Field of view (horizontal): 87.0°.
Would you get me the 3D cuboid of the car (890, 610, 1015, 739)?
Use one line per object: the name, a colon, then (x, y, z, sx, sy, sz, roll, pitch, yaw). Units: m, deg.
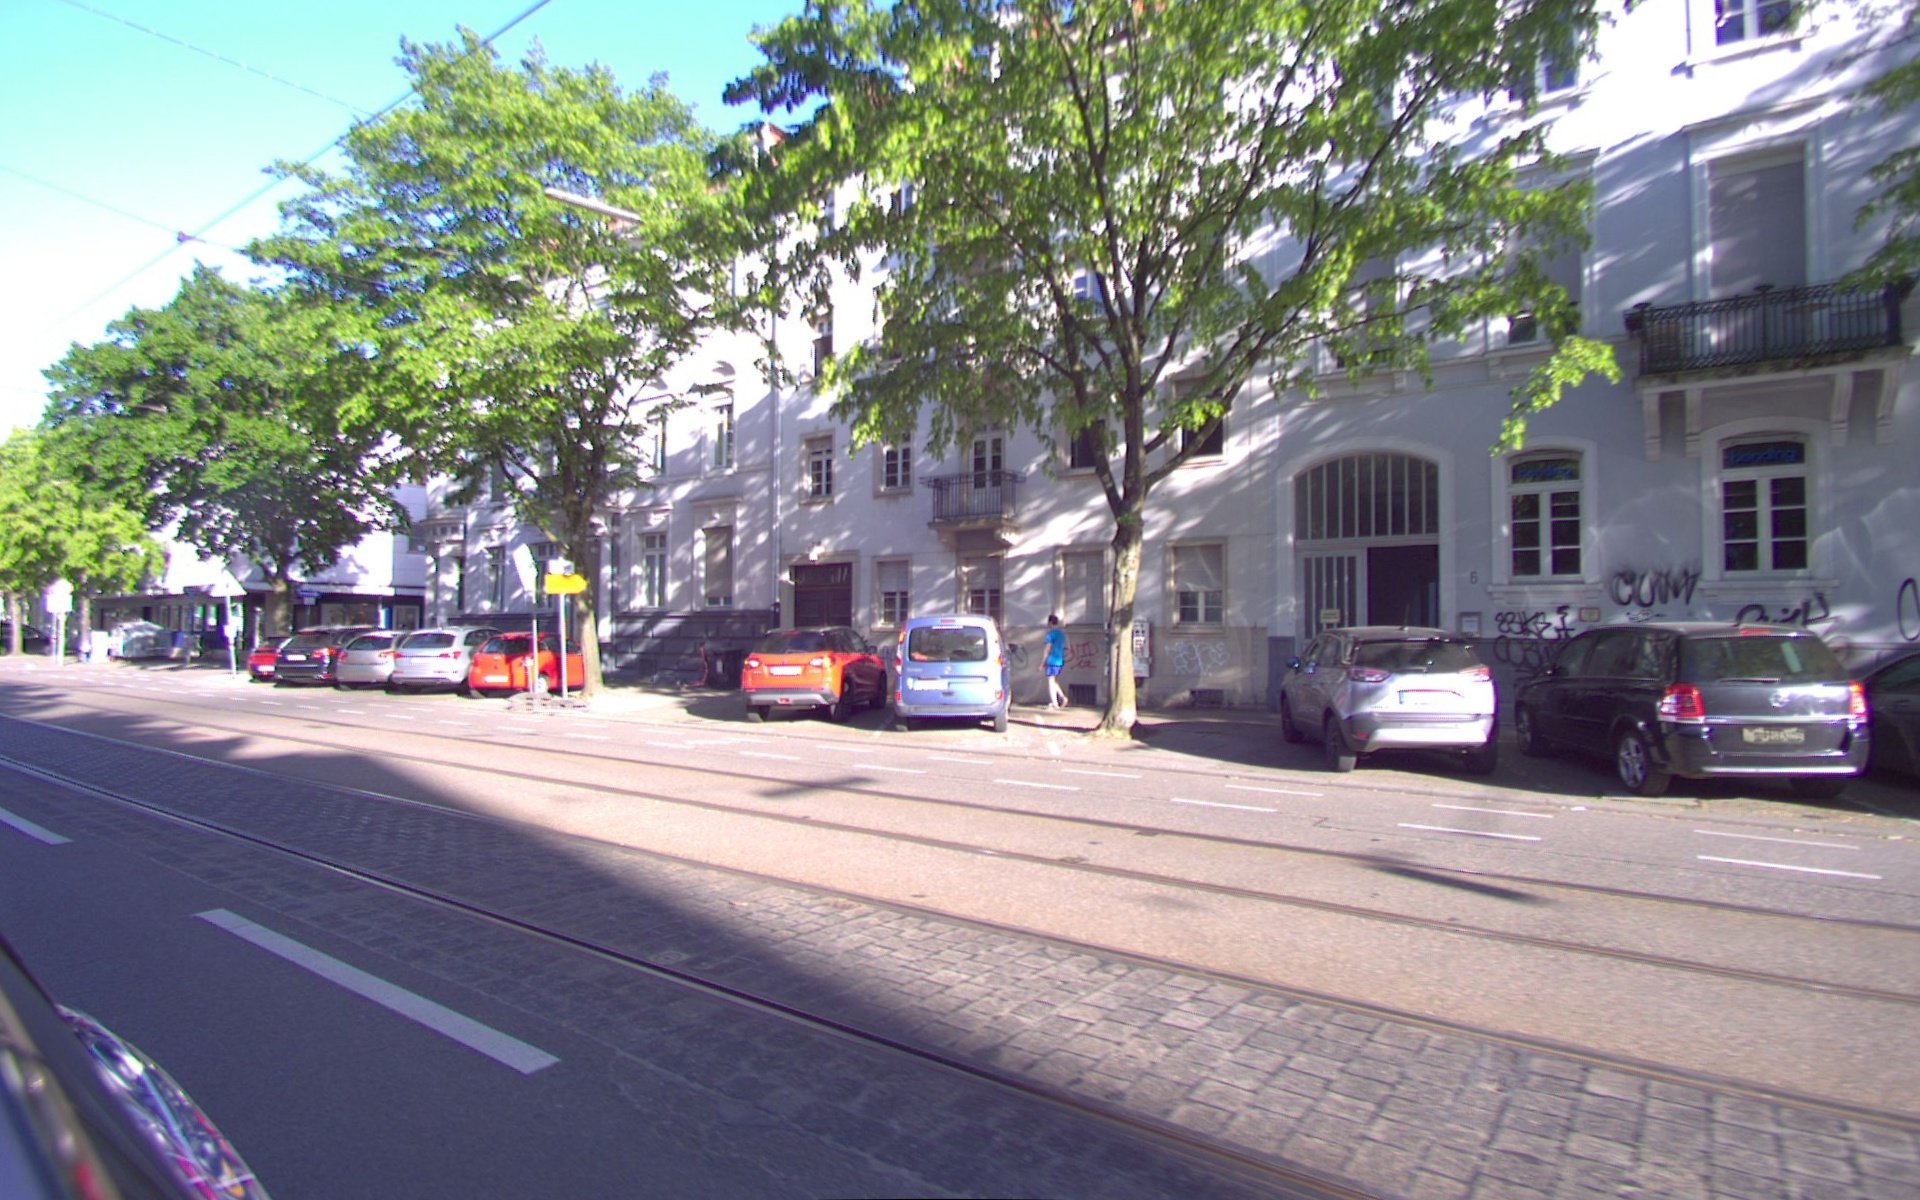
car: (-0.004, 1.091, 16.784, 1.763, 1.812, 4.196, 0, 0, 4)

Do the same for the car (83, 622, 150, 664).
car: (-39.482, 2.007, 47.372, 3.209, 1.912, 1.652, -1, -3, 37)

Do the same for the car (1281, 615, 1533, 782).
car: (5.185, 1.030, 12.307, 1.752, 1.667, 3.862, 0, -1, 7)

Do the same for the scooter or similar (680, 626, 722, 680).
scooter or similar: (-6.714, 1.373, 26.226, 1.285, 1.368, 0.396, -2, -4, 41)

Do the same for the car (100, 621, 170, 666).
car: (-36.668, 1.940, 44.967, 3.209, 1.912, 1.652, -1, -3, 37)

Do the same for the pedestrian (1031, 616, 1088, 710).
pedestrian: (1.873, 1.167, 19.017, 0.870, 1.709, 0.635, -2, -3, 42)

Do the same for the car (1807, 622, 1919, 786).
car: (9.719, 0.975, 8.838, 1.750, 1.496, 3.813, 0, 0, 7)

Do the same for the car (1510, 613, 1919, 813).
car: (7.449, 0.972, 10.533, 1.752, 1.667, 3.861, 0, -1, 8)

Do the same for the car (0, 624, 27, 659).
car: (-56.161, 2.395, 57.565, 1.667, 1.965, 4.263, -1, 0, 31)

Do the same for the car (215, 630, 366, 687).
car: (-20.276, 1.727, 30.843, 1.759, 1.497, 3.994, 0, 0, 5)

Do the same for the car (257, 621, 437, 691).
car: (-17.305, 1.519, 28.843, 1.929, 1.727, 4.341, 0, 0, 13)

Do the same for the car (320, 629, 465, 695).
car: (-15.281, 1.623, 27.490, 1.726, 1.531, 3.763, 0, 0, 3)

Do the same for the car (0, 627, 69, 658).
car: (-50.804, 2.282, 54.385, 1.667, 1.582, 4.059, -1, 0, 31)

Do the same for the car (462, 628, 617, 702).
car: (-10.103, 1.505, 24.683, 1.621, 1.570, 4.191, -1, -1, 8)

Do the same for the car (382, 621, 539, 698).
car: (-12.689, 1.448, 26.018, 1.762, 1.737, 4.196, 0, 0, 4)

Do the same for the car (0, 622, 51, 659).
car: (-53.459, 2.277, 56.100, 1.667, 1.965, 4.263, -1, 0, 31)

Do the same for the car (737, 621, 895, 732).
car: (-2.466, 1.277, 18.367, 1.722, 1.649, 4.191, -2, 0, 8)
